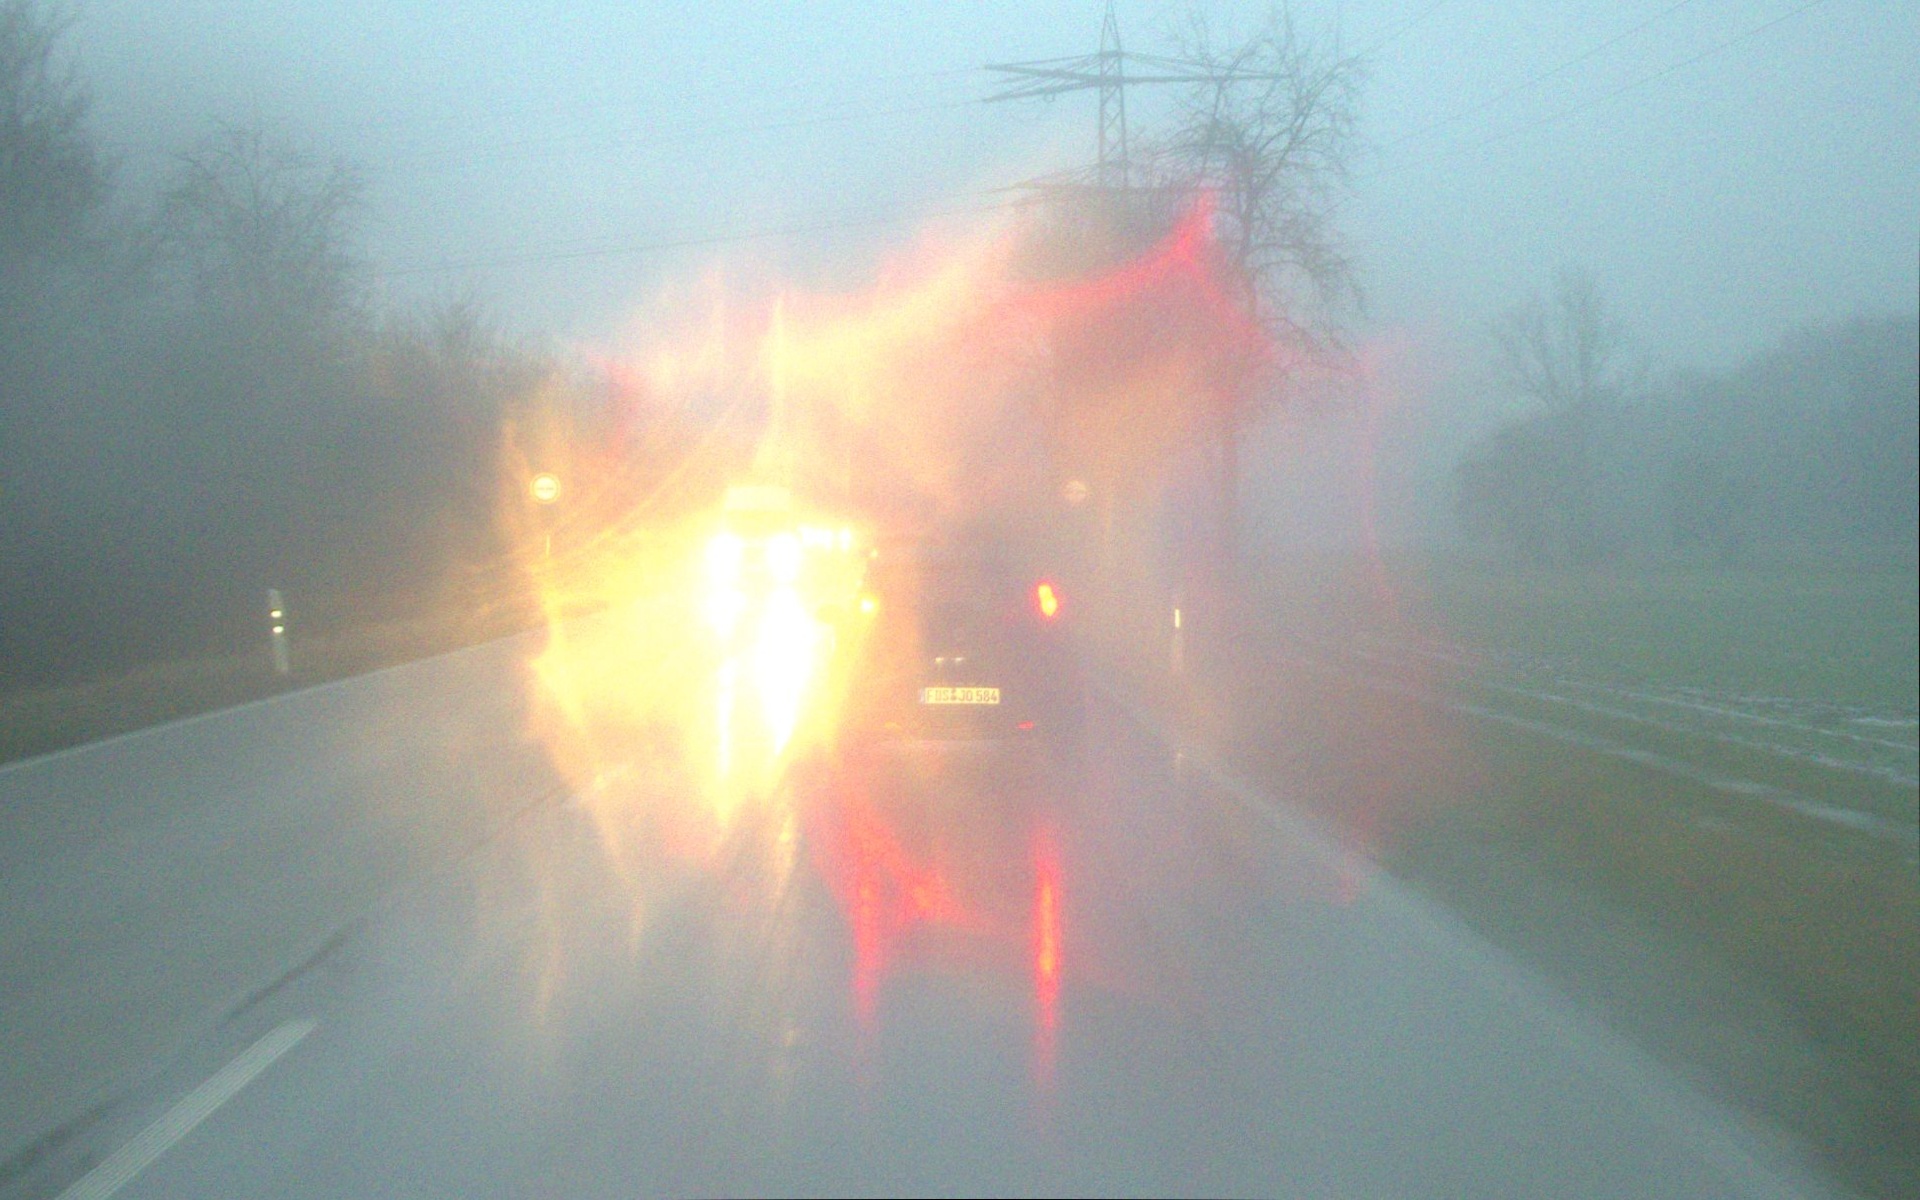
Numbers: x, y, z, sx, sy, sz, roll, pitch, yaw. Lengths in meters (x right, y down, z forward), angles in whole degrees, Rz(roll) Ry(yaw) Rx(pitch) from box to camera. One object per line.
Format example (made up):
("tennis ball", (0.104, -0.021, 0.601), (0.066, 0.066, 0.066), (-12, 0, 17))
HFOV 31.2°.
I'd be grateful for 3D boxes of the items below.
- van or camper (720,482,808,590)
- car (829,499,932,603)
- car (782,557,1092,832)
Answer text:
("van or camper", (-5.223, -1.723, 92.512), (2.021, 2.767, 6.744), (-1, 1, -1))
("car", (-1.587, -1.001, 69.538), (1.993, 2.007, 4.000), (-1, 1, -1))
("car", (-0.180, 0.585, 24.204), (1.993, 1.746, 4.000), (0, 1, -1))
